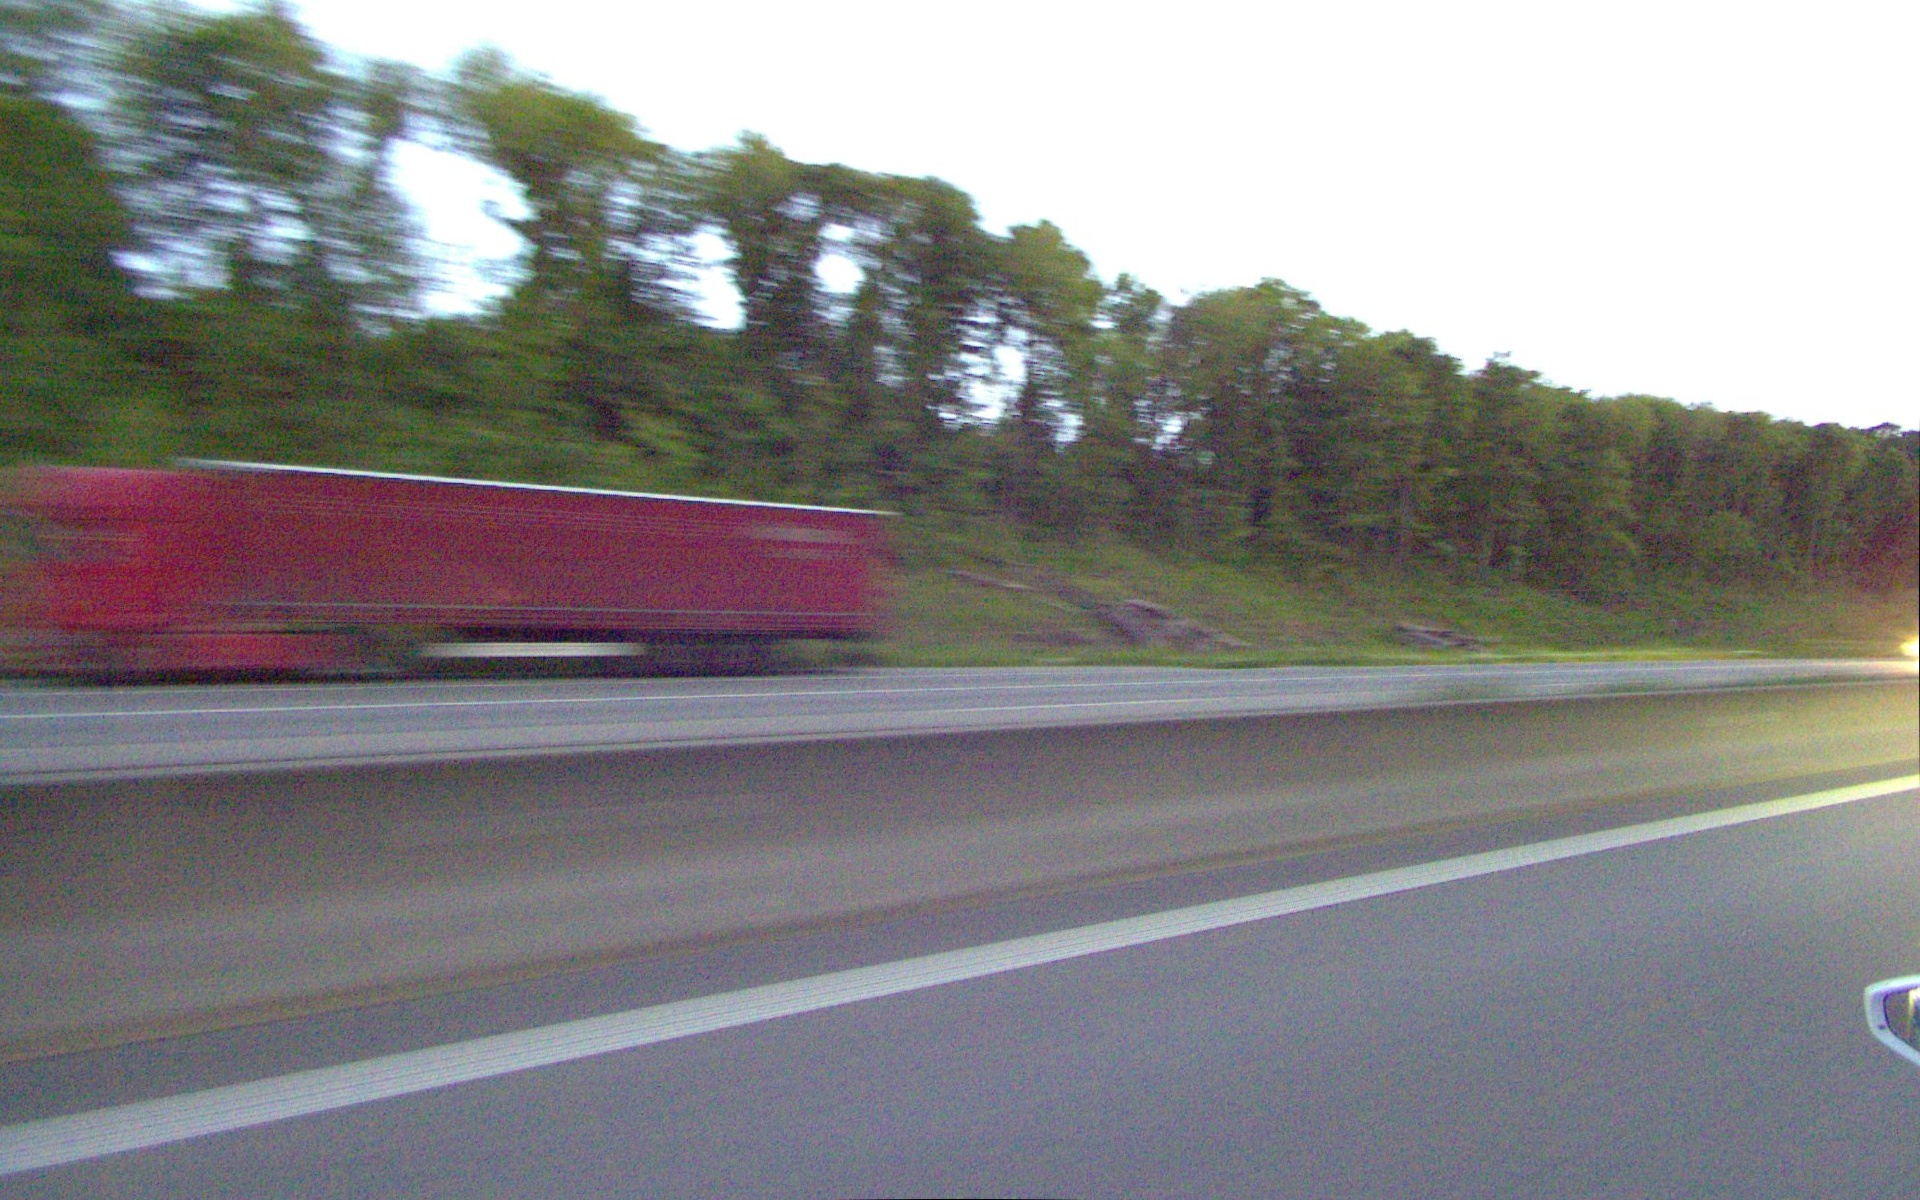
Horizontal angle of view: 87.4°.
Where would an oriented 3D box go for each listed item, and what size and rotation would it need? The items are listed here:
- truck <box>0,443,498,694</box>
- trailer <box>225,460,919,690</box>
[{"bbox_3d":[-13.483,-0.396,19.857,7.597,4.159,3.177,2,-1,-30],"label":"truck"},{"bbox_3d":[-7.918,-0.214,23.053,14.014,4.159,3.176,2,-1,-30],"label":"trailer"}]
